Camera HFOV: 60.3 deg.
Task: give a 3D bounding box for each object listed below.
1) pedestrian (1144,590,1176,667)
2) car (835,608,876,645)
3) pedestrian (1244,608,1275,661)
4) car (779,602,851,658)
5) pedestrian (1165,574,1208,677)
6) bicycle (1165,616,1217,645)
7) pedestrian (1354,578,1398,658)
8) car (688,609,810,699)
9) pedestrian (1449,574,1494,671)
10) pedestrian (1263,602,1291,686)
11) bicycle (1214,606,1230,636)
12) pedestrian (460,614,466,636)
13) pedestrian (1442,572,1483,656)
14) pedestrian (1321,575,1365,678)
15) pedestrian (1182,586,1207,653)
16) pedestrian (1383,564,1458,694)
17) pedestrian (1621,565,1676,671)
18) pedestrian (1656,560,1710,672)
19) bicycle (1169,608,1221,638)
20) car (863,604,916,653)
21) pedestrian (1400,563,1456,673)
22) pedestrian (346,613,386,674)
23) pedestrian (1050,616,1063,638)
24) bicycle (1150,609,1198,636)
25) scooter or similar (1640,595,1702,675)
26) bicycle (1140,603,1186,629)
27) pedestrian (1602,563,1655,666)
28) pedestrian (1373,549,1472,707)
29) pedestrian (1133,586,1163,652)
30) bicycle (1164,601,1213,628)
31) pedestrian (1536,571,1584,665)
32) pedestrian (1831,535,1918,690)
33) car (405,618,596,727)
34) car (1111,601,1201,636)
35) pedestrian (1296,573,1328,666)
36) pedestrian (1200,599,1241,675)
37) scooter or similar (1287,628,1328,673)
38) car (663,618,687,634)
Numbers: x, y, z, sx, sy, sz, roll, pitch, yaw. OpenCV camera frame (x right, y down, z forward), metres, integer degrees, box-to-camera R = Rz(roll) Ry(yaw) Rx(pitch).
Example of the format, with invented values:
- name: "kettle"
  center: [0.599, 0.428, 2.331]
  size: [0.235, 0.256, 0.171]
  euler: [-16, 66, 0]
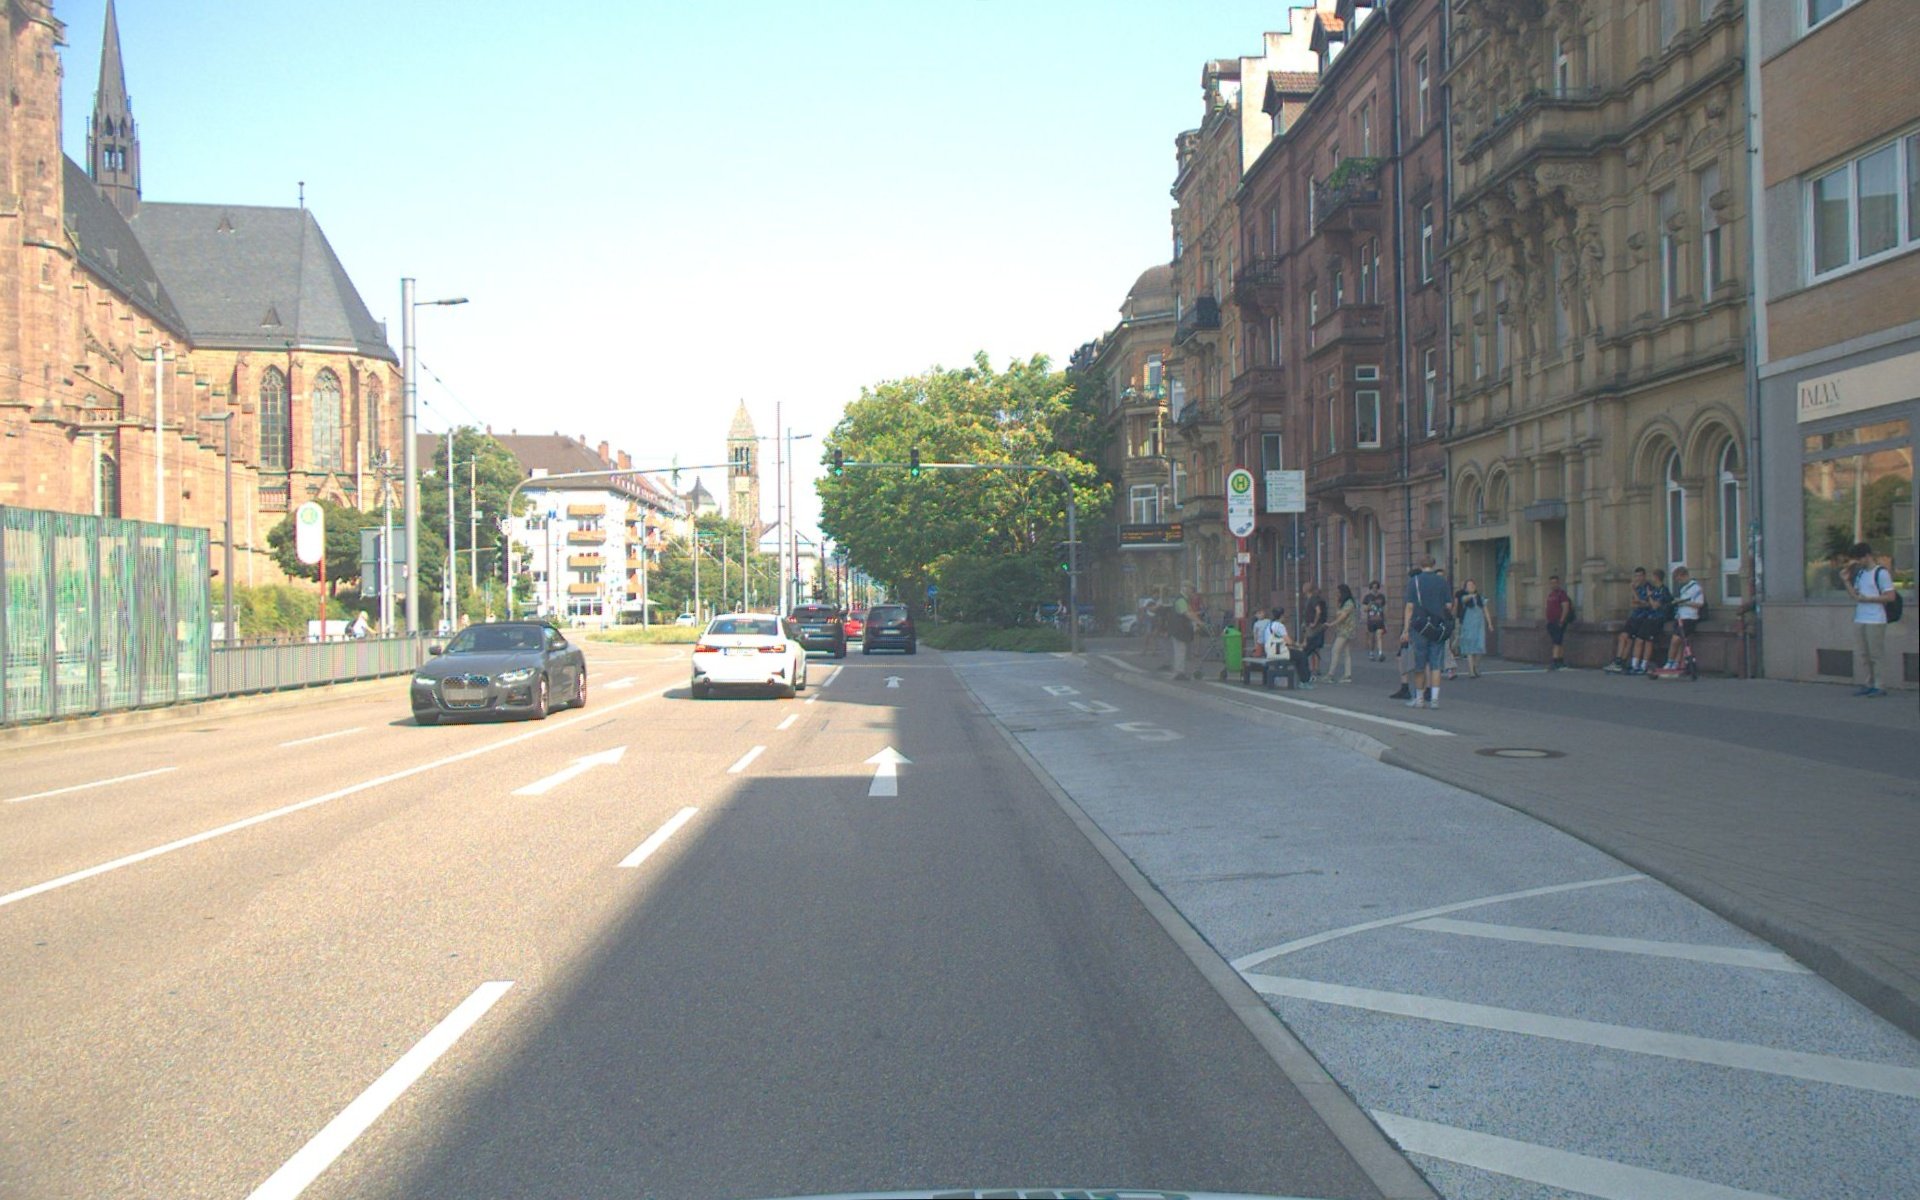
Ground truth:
- name: "pedestrian"
  center: [4.371, 0.619, 36.145]
  size: [0.518, 1.640, 0.702]
  euler: [-1, 0, -5]
- name: "car"
  center: [-4.954, 1.239, 78.711]
  size: [1.794, 1.649, 4.355]
  euler: [0, 0, -2]
- name: "pedestrian"
  center: [4.827, 0.556, 26.641]
  size: [0.297, 0.834, 0.603]
  euler: [-1, 0, -9]
- name: "car"
  center: [-4.437, 0.904, 51.211]
  size: [1.953, 1.649, 4.355]
  euler: [0, 0, -2]
- name: "pedestrian"
  center: [3.948, 0.437, 28.819]
  size: [0.554, 1.759, 0.744]
  euler: [-1, 0, -5]
- name: "bicycle"
  center: [8.959, 1.168, 64.114]
  size: [1.892, 1.066, 0.499]
  euler: [-1, 0, -8]
- name: "pedestrian"
  center: [9.248, 0.392, 36.785]
  size: [0.687, 1.755, 0.897]
  euler: [-1, 0, -2]
- name: "car"
  center: [-3.754, 0.924, 30.124]
  size: [1.773, 1.452, 4.772]
  euler: [1, 0, -2]
- name: "pedestrian"
  center: [8.812, 0.387, 28.490]
  size: [0.476, 1.638, 0.812]
  euler: [-1, 0, -1]
- name: "pedestrian"
  center: [4.940, 0.680, 25.783]
  size: [0.270, 1.296, 0.447]
  euler: [-1, 0, -9]
- name: "bicycle"
  center: [9.767, 0.775, 61.604]
  size: [0.408, 1.066, 1.670]
  euler: [-1, 0, 3]
- name: "pedestrian"
  center: [-34.945, 1.780, 116.205]
  size: [0.298, 1.544, 0.340]
  euler: [-1, 0, -6]
- name: "pedestrian"
  center: [10.737, 0.298, 35.347]
  size: [0.617, 1.749, 0.690]
  euler: [-1, 0, -2]
- name: "pedestrian"
  center: [6.634, 0.459, 28.659]
  size: [0.554, 1.759, 0.616]
  euler: [-1, 0, -5]
- name: "pedestrian"
  center: [6.069, 0.501, 42.854]
  size: [0.472, 1.732, 0.702]
  euler: [-1, 0, -5]
- name: "pedestrian"
  center: [6.368, 0.393, 22.907]
  size: [0.735, 1.759, 0.800]
  euler: [-1, 0, -5]
- name: "pedestrian"
  center: [11.398, 0.290, 27.391]
  size: [0.591, 1.721, 0.586]
  euler: [-1, 0, -5]
- name: "pedestrian"
  center: [11.518, 0.250, 26.351]
  size: [0.591, 1.761, 0.510]
  euler: [-1, 0, -5]
- name: "bicycle"
  center: [8.998, 0.881, 63.394]
  size: [1.892, 1.066, 0.499]
  euler: [-1, 0, -8]
- name: "car"
  center: [-2.428, 0.957, 57.850]
  size: [1.794, 1.649, 4.355]
  euler: [0, 0, -2]
- name: "pedestrian"
  center: [8.011, 0.307, 28.349]
  size: [0.604, 1.835, 1.071]
  euler: [-1, 0, -1]
- name: "pedestrian"
  center: [-16.980, 1.230, 47.280]
  size: [0.898, 1.709, 0.602]
  euler: [-1, 0, -3]
- name: "pedestrian"
  center: [4.934, 1.380, 84.221]
  size: [0.439, 1.089, 0.481]
  euler: [-1, 0, -33]
- name: "bicycle"
  center: [8.865, 0.937, 68.486]
  size: [1.892, 1.066, 0.526]
  euler: [-1, 0, -8]
- name: "scooter or similar"
  center: [10.807, 0.515, 25.169]
  size: [0.353, 1.183, 1.151]
  euler: [-1, 0, -4]
- name: "bicycle"
  center: [8.768, 0.699, 71.575]
  size: [1.892, 1.066, 0.526]
  euler: [-1, 0, -8]
- name: "pedestrian"
  center: [11.334, 0.246, 28.060]
  size: [0.591, 1.721, 0.586]
  euler: [-1, 0, -5]
- name: "pedestrian"
  center: [5.634, 0.331, 20.191]
  size: [0.907, 1.863, 0.800]
  euler: [-1, 0, -5]
- name: "pedestrian"
  center: [4.908, 0.483, 43.219]
  size: [0.676, 1.693, 0.619]
  euler: [-1, 0, -2]
- name: "bicycle"
  center: [9.167, 0.580, 66.385]
  size: [1.892, 1.066, 0.499]
  euler: [-1, 0, -8]
- name: "pedestrian"
  center: [10.901, 0.317, 30.070]
  size: [0.591, 1.683, 0.586]
  euler: [-1, 0, -5]
- name: "pedestrian"
  center: [11.225, 0.150, 20.317]
  size: [0.591, 1.863, 0.741]
  euler: [-1, 0, -5]
- name: "car"
  center: [-6.687, 0.997, 24.546]
  size: [1.679, 1.354, 4.519]
  euler: [-2, 0, -2]
- name: "car"
  center: [9.760, 0.917, 82.656]
  size: [4.100, 1.590, 1.997]
  euler: [-1, 0, -7]
- name: "pedestrian"
  center: [6.791, 0.377, 31.910]
  size: [0.334, 1.763, 0.805]
  euler: [-1, 0, -5]
- name: "pedestrian"
  center: [4.536, 0.631, 28.839]
  size: [0.554, 1.300, 0.596]
  euler: [-1, 0, -6]
- name: "scooter or similar"
  center: [6.014, 0.867, 28.606]
  size: [0.554, 0.754, 0.514]
  euler: [-1, 0, -5]
- name: "car"
  center: [-28.744, 2.571, 166.663]
  size: [1.954, 1.526, 3.997]
  euler: [-1, 0, -4]
